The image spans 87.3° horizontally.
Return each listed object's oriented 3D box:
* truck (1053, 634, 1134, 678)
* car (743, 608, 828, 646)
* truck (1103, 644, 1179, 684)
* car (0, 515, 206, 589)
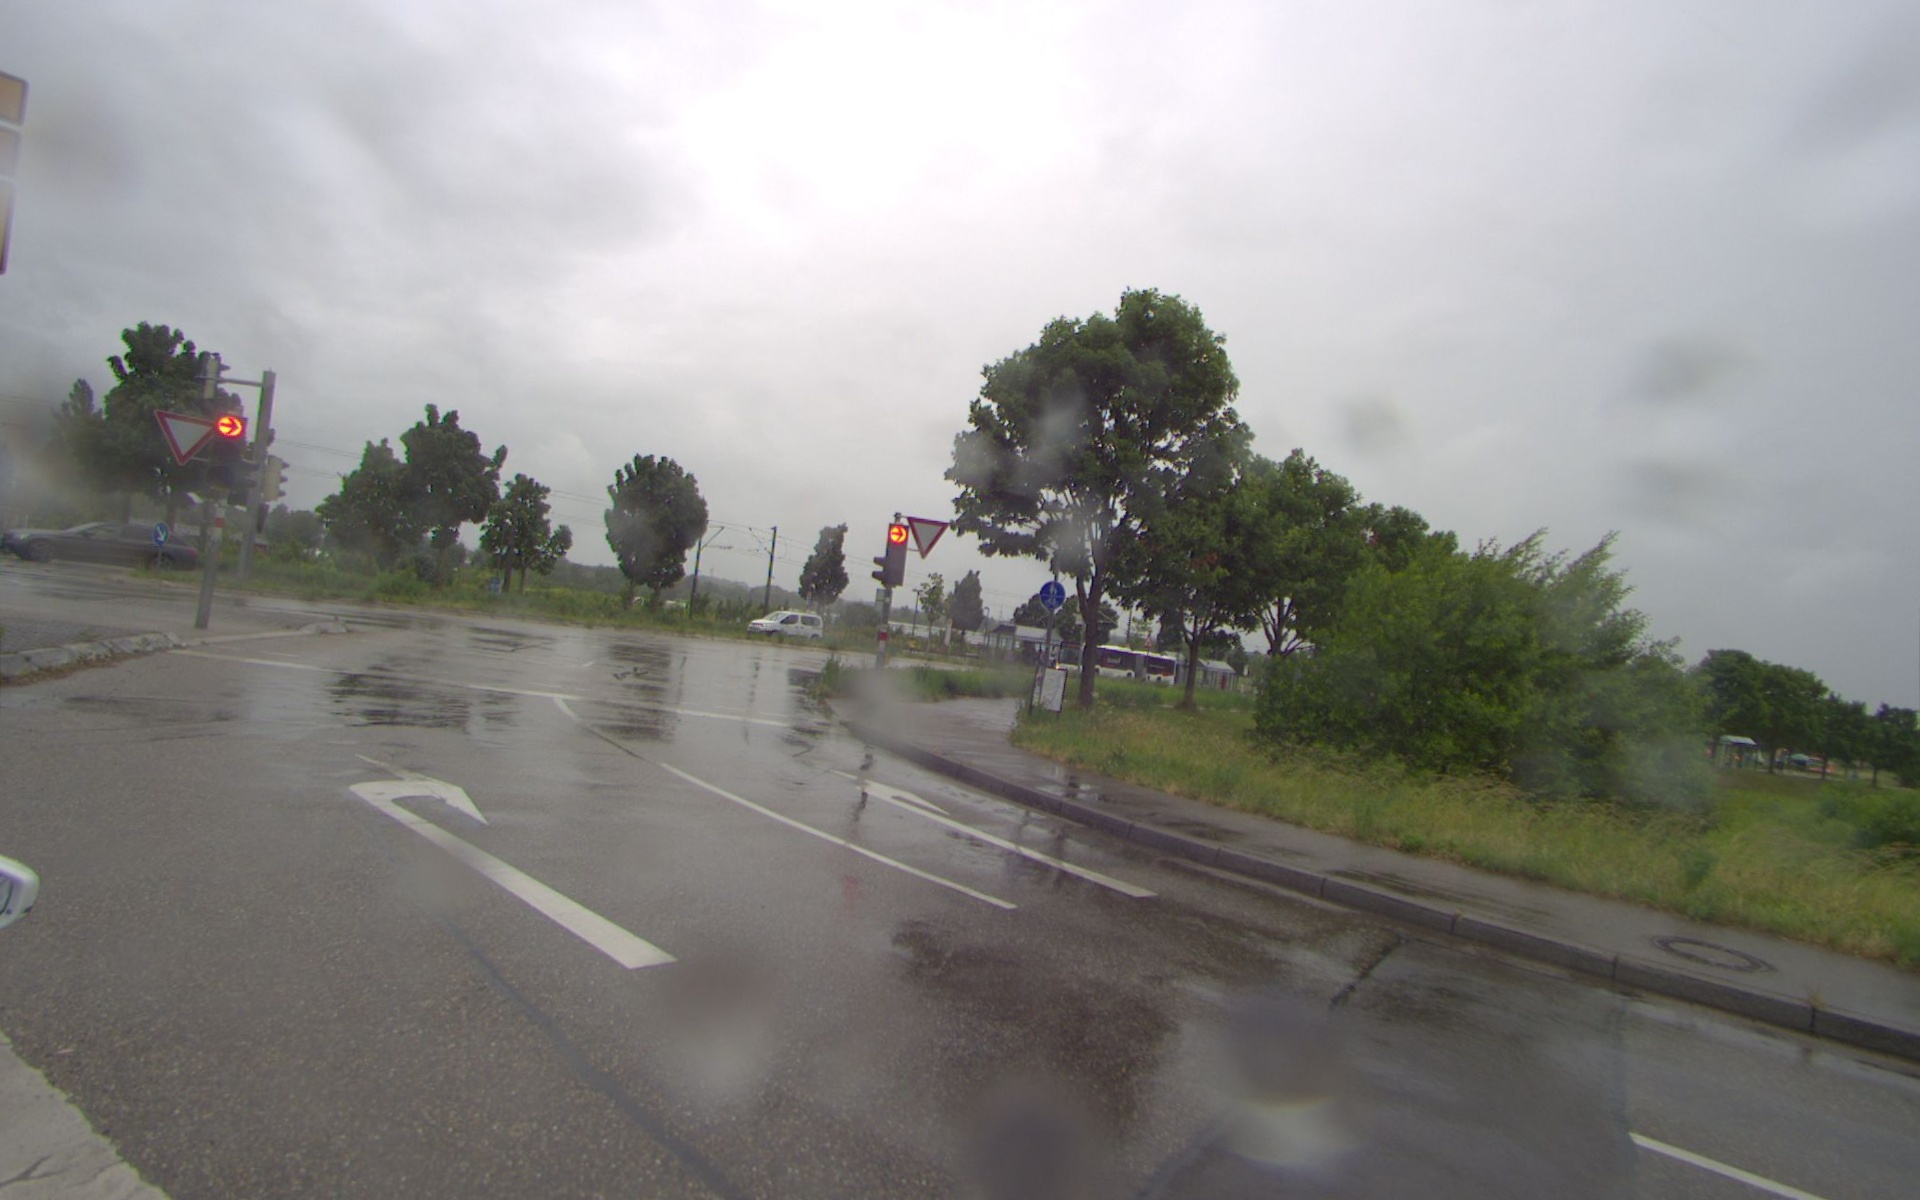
[{"bbox_3d":[11.548,4.841,86.107,2.616,2.864,8.823,7,-2,38],"label":"truck"},{"bbox_3d":[-9.647,1.535,55.755,1.798,1.572,4.326,7,-1,43],"label":"car"},{"bbox_3d":[16.880,5.970,93.241,2.616,2.804,9.325,7,-2,38],"label":"truck"},{"bbox_3d":[-26.230,-1.426,30.758,1.795,1.572,4.670,7,-1,37],"label":"car"}]
